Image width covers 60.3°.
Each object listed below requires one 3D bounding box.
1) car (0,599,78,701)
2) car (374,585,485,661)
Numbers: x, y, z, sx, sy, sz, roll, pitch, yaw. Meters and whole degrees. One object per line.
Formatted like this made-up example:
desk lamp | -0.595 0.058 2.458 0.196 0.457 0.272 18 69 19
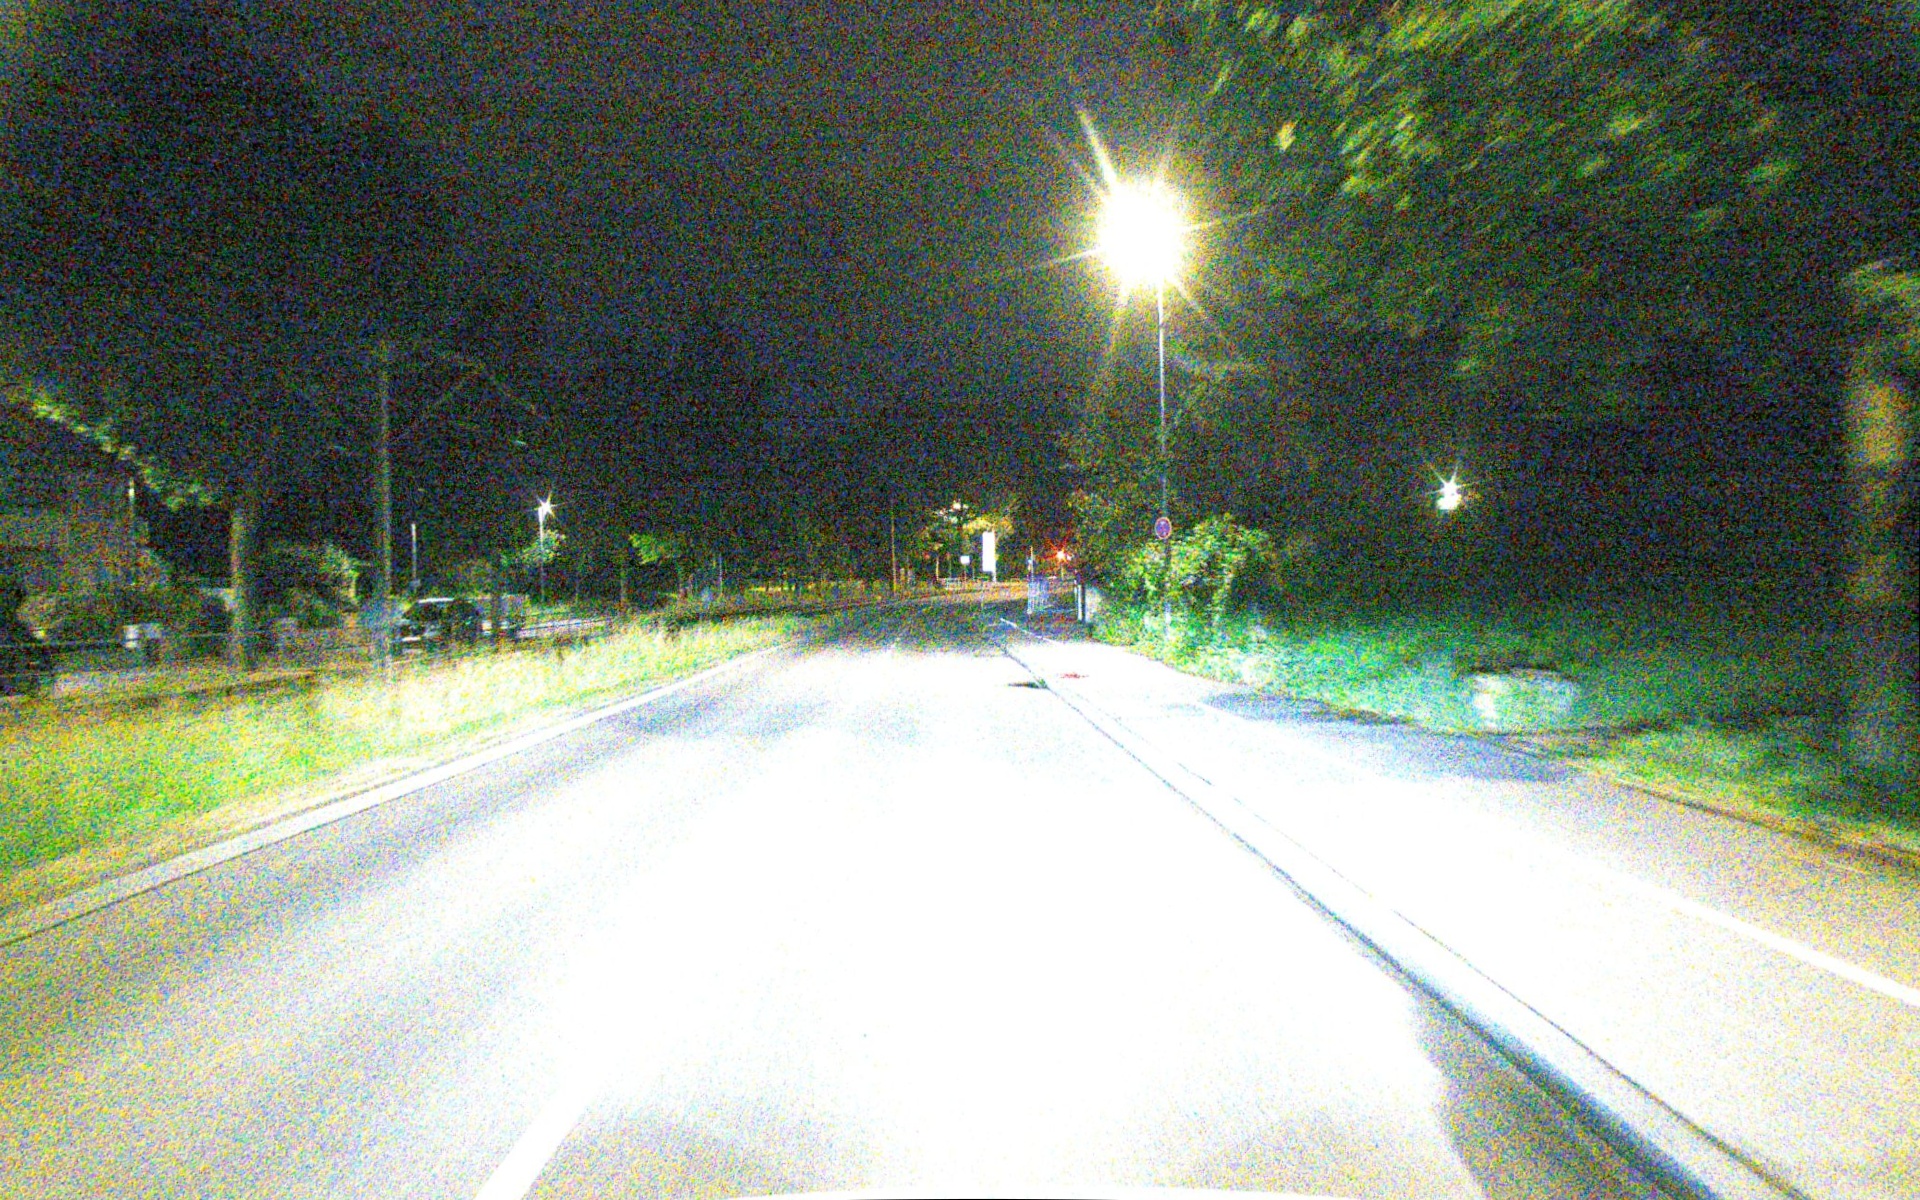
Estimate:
car | -15.734 0.796 25.727 1.953 1.557 3.998 -1 0 -2
car | -16.116 0.659 50.488 2.050 2.048 3.999 -5 1 -2
